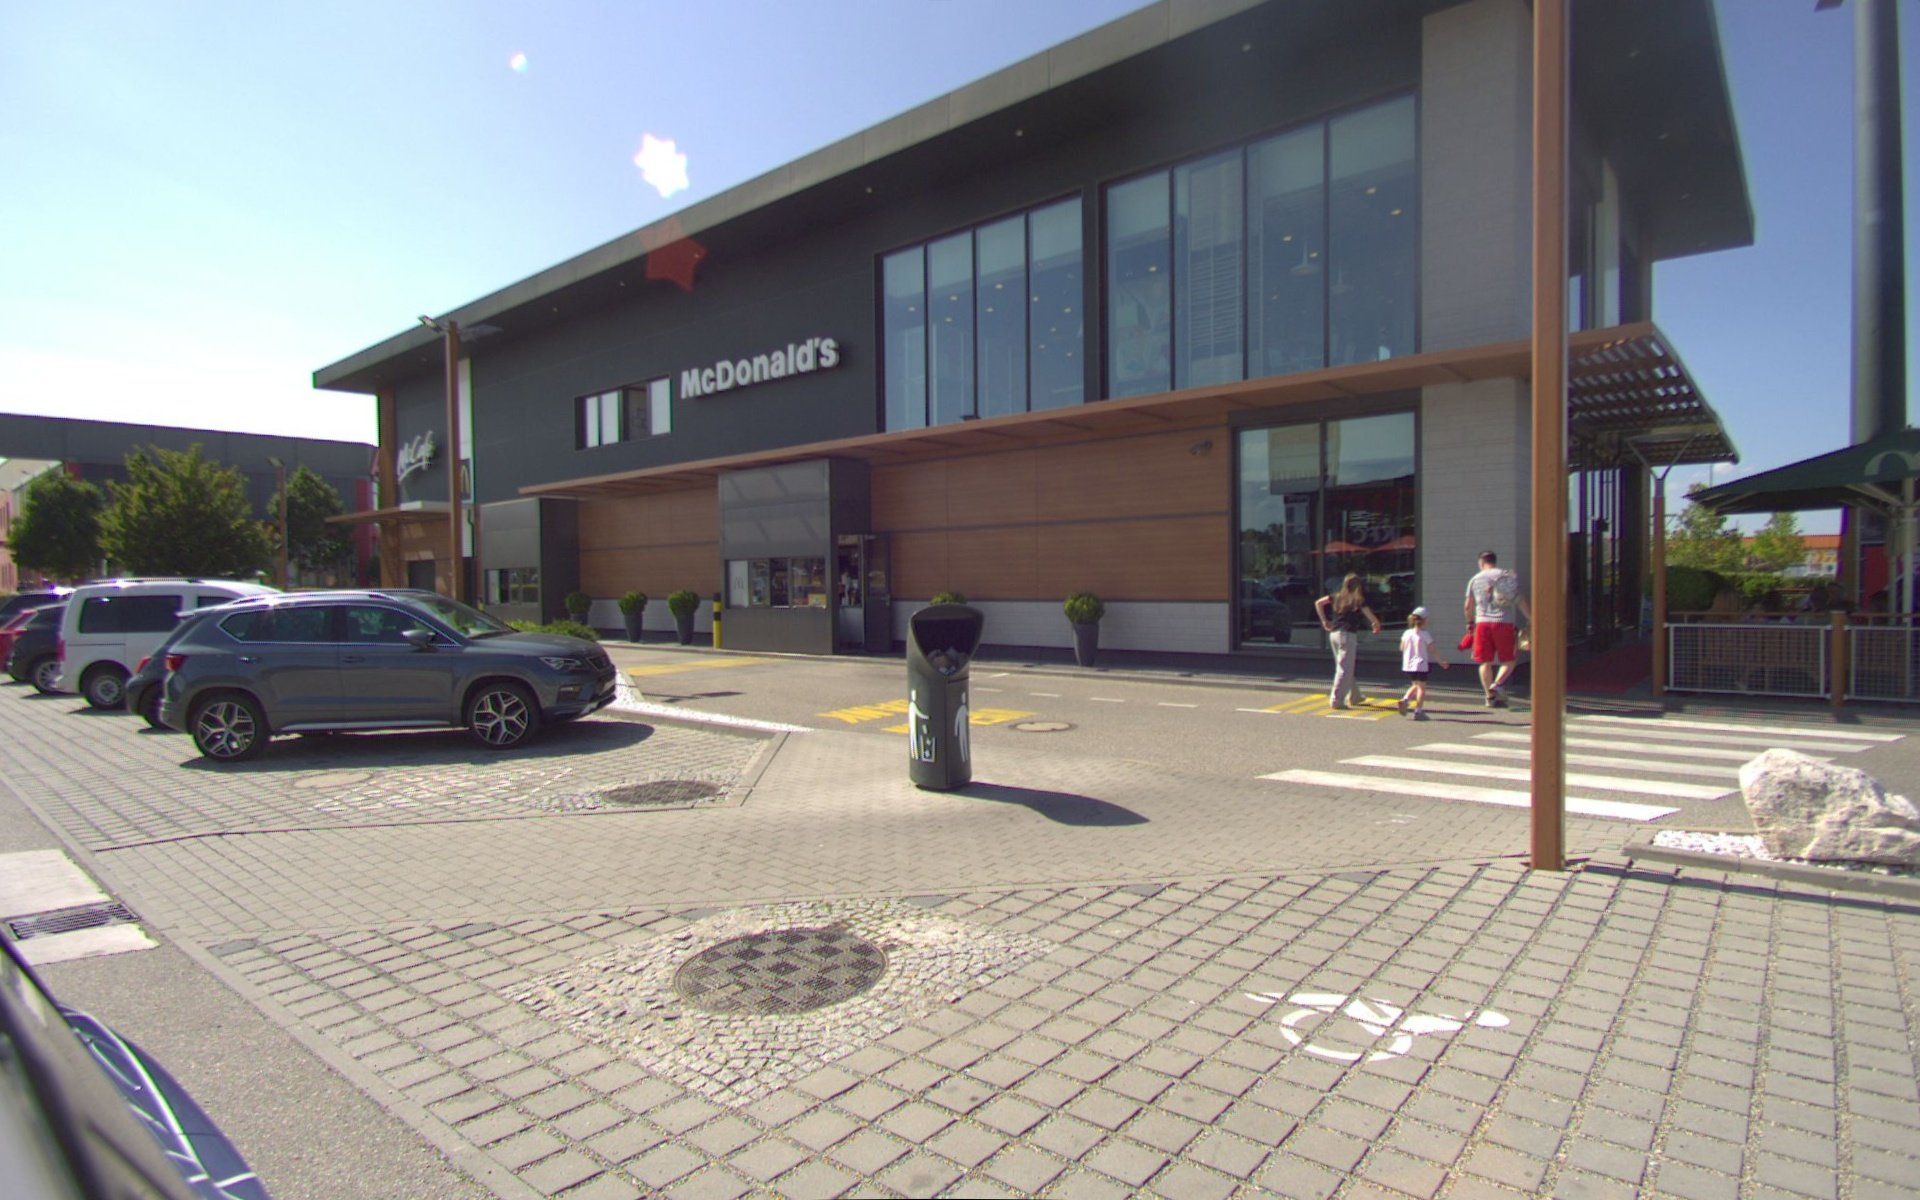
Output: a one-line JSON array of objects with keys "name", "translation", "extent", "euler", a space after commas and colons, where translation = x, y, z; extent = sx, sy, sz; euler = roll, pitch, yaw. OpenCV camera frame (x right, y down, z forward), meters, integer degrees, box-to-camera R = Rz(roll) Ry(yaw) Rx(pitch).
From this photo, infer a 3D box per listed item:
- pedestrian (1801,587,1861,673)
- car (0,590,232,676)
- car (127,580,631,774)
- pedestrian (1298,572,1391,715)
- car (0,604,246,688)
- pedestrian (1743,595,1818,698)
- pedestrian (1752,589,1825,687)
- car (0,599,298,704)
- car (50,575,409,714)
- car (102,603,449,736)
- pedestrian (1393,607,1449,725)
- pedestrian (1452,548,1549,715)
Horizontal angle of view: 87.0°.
[{"name": "pedestrian", "translation": [11.632, 0.392, 13.529], "extent": [0.573, 1.109, 0.648], "euler": [-1, 0, 39]}, {"name": "car", "translation": [-18.865, 0.679, 22.540], "extent": [3.970, 1.718, 1.680], "euler": [-1, 1, -18]}, {"name": "car", "translation": [-5.838, 0.716, 10.628], "extent": [4.164, 1.615, 1.793], "euler": [-3, 3, -4]}, {"name": "pedestrian", "translation": [4.479, 0.480, 11.786], "extent": [0.717, 1.595, 0.743], "euler": [-1, 0, -40]}, {"name": "car", "translation": [-16.647, 0.865, 20.091], "extent": [3.707, 1.455, 1.680], "euler": [-2, 1, -21]}, {"name": "pedestrian", "translation": [9.367, 0.513, 11.573], "extent": [0.633, 1.132, 0.518], "euler": [-1, 0, 37]}, {"name": "pedestrian", "translation": [9.911, 0.441, 12.127], "extent": [0.633, 1.132, 0.518], "euler": [-1, 0, 37]}, {"name": "car", "translation": [-14.007, 0.824, 17.640], "extent": [3.779, 1.644, 1.763], "euler": [-1, 0, -16]}, {"name": "car", "translation": [-10.919, 0.610, 15.423], "extent": [4.078, 1.936, 1.762], "euler": [-1, 0, -10]}, {"name": "car", "translation": [-8.668, 0.827, 13.099], "extent": [3.359, 1.493, 1.572], "euler": [-1, 1, -12]}, {"name": "pedestrian", "translation": [4.864, 0.681, 10.679], "extent": [0.447, 1.195, 0.486], "euler": [-1, 0, 35]}, {"name": "pedestrian", "translation": [6.059, 0.337, 11.343], "extent": [0.894, 1.781, 0.794], "euler": [-1, 0, 32]}]
